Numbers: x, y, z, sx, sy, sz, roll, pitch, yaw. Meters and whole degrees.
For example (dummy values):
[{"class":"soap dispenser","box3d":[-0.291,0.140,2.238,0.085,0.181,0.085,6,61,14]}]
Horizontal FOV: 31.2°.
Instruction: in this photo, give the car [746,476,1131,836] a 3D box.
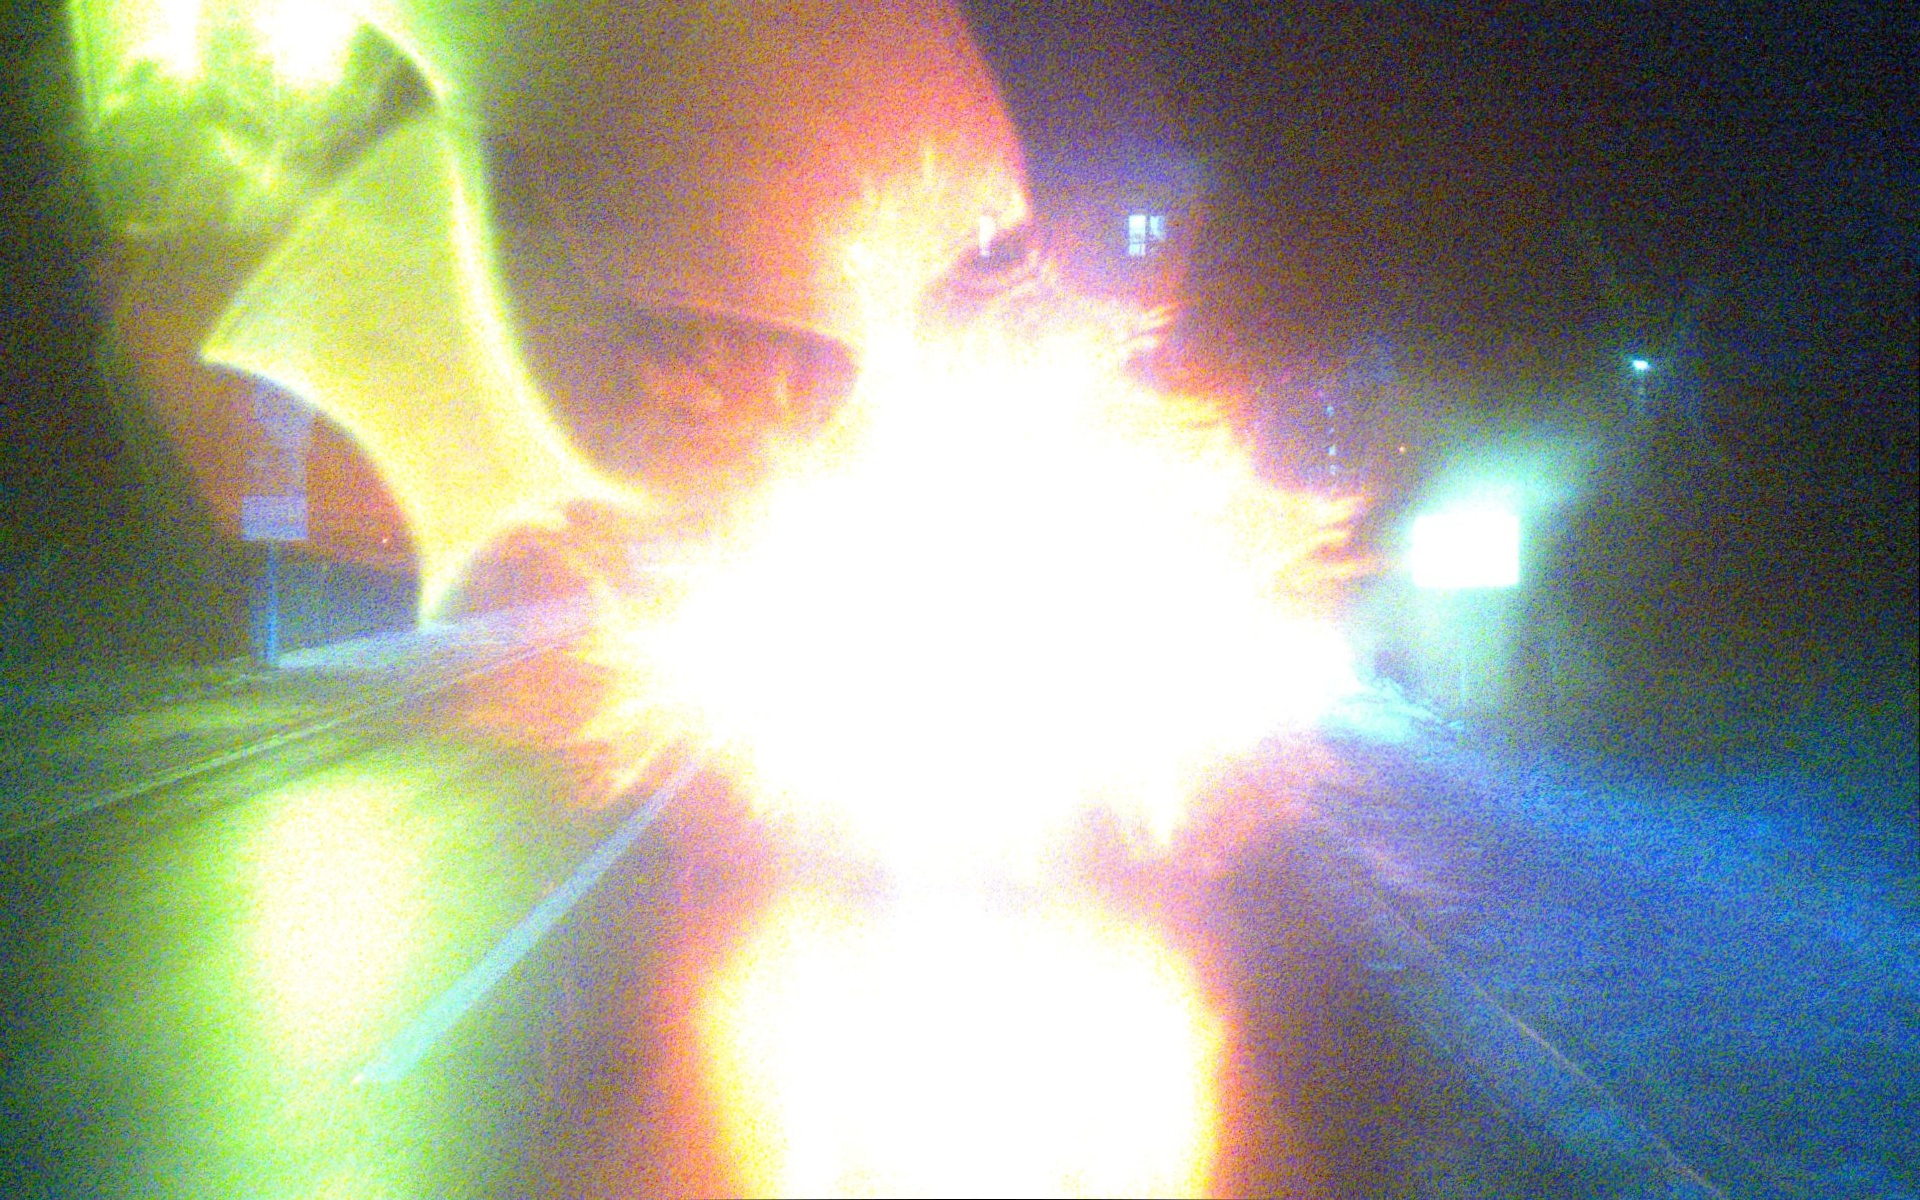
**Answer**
[{"class":"car","box3d":[-0.029,0.226,18.083,1.791,1.675,3.904,0,1,2]}]
